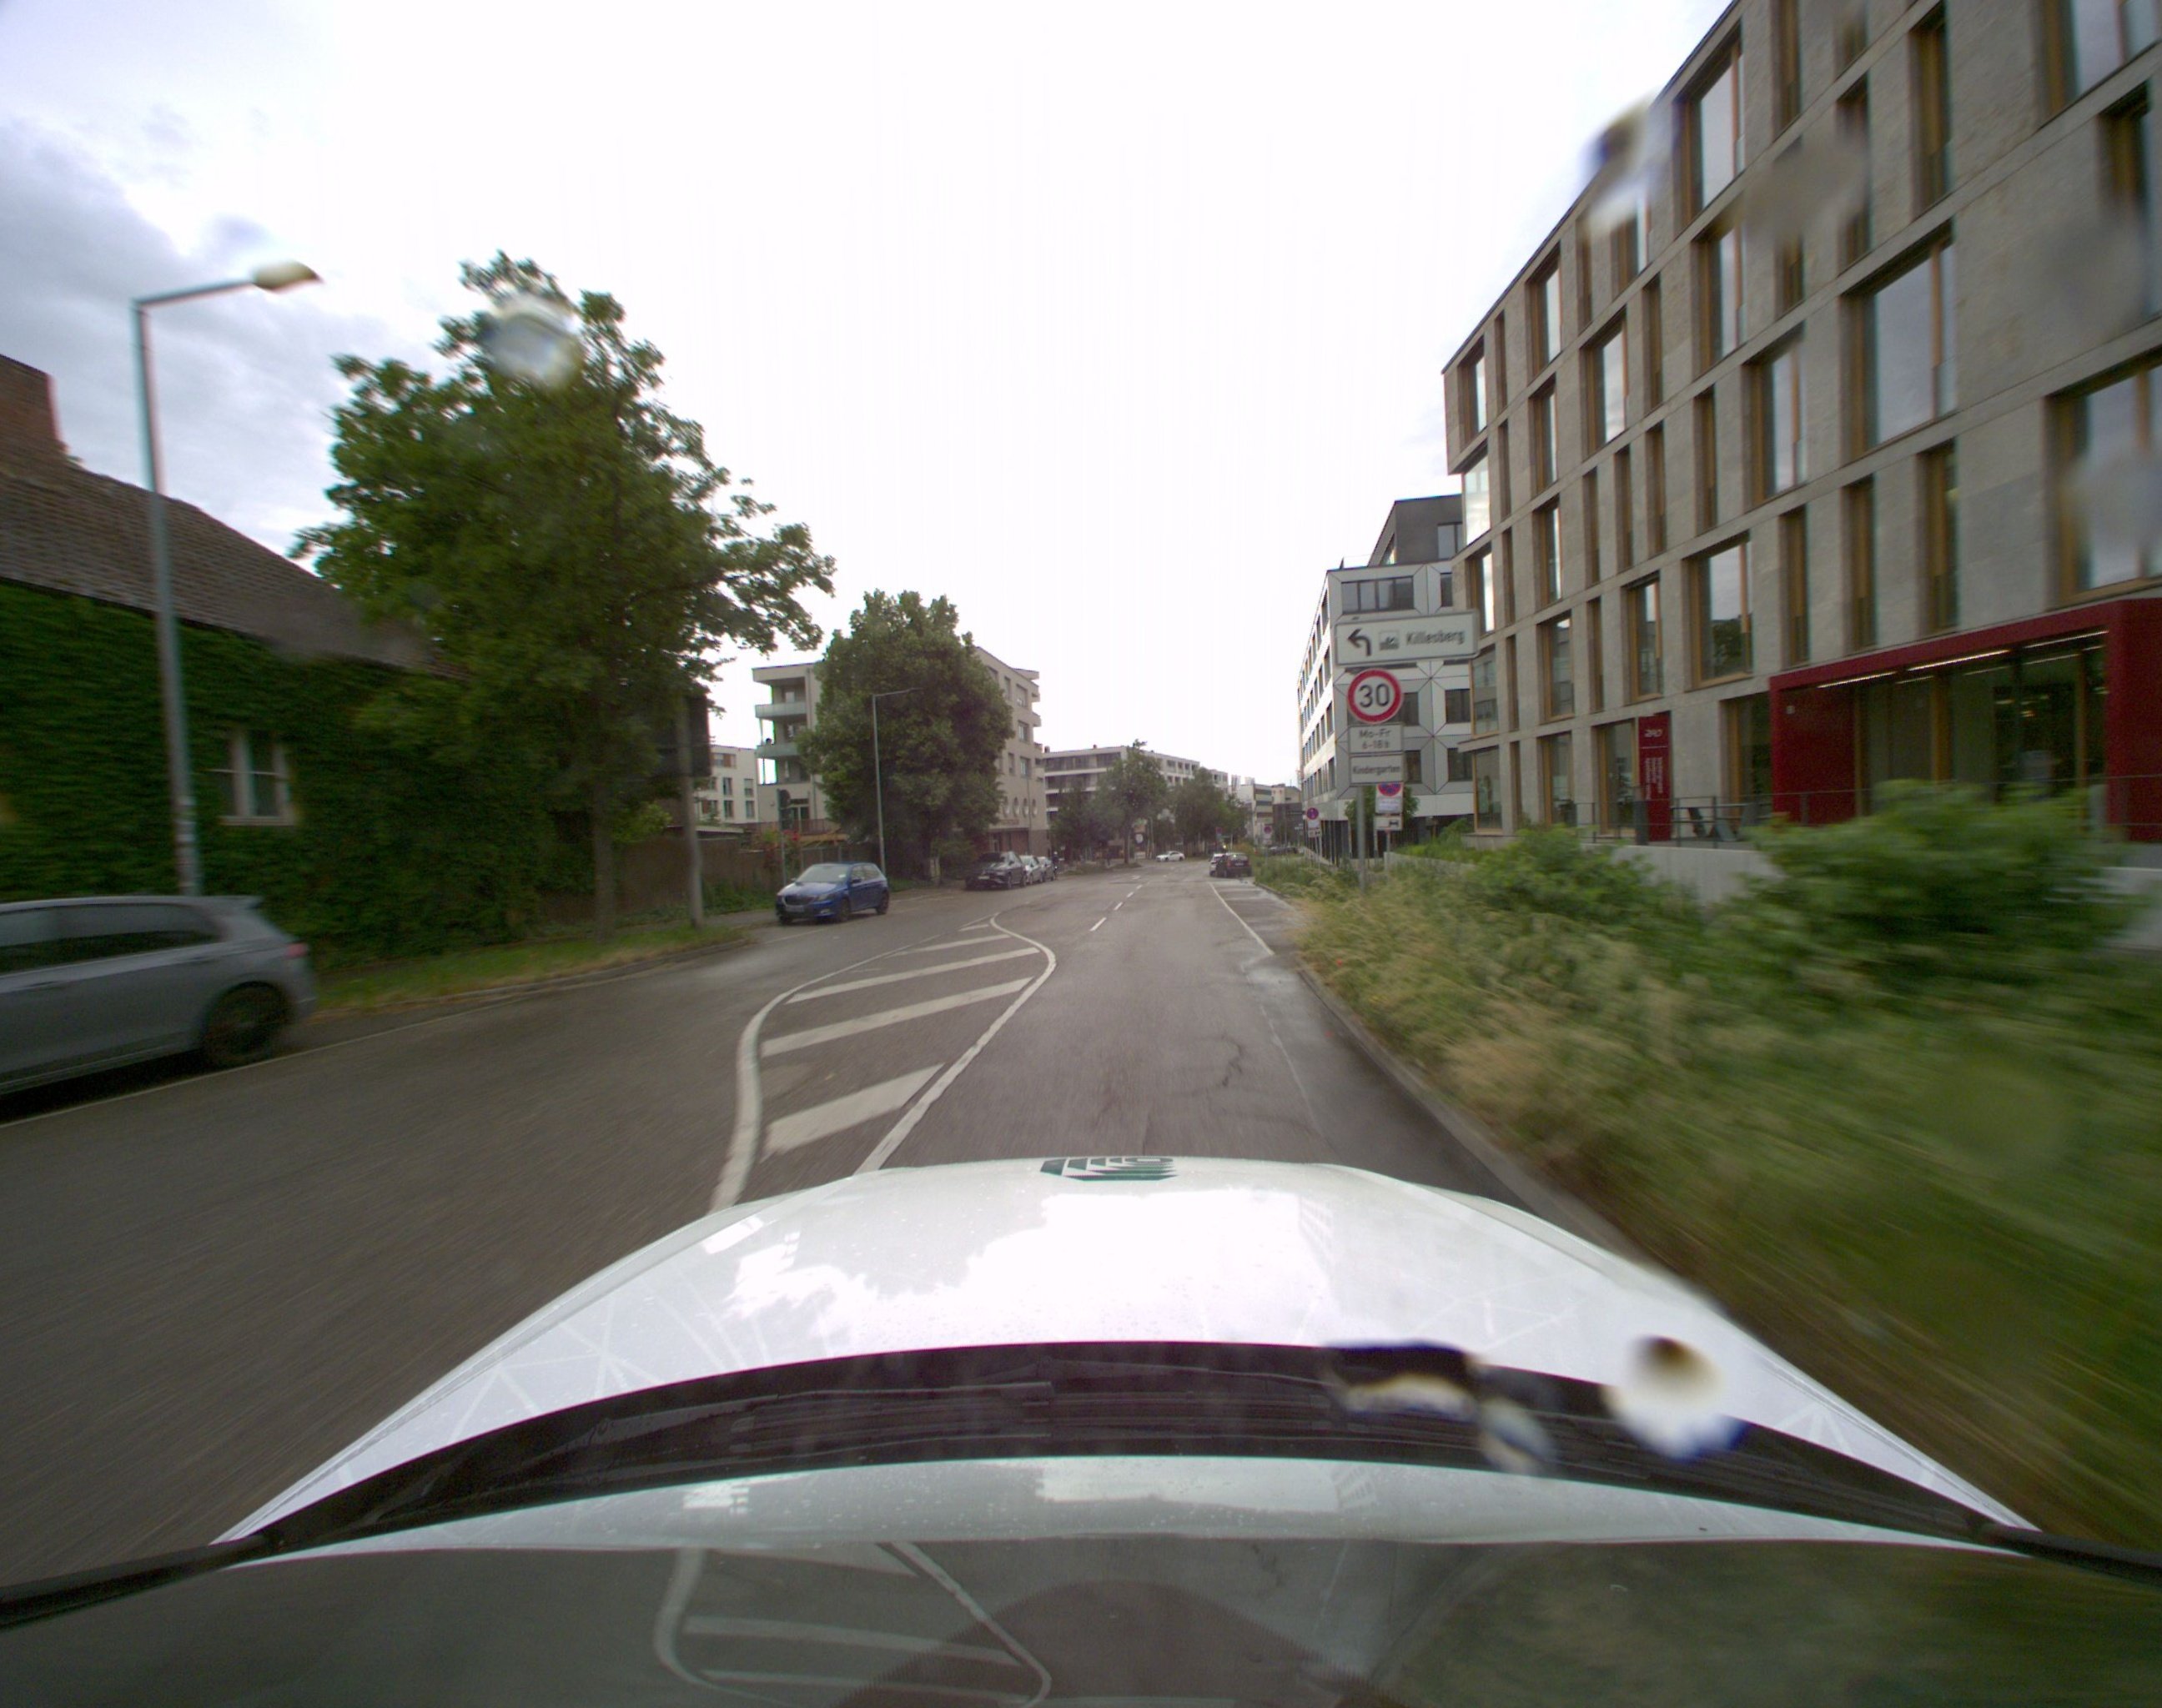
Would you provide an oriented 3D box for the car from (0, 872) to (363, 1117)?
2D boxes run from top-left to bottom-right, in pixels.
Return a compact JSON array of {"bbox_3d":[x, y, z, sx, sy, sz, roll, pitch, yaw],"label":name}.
[{"bbox_3d":[-7.916,0.960,5.488,1.984,1.512,4.428,-2,0,5],"label":"car"}]

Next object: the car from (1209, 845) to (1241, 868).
[{"bbox_3d":[9.833,0.150,55.724,2.027,1.464,4.514,-2,0,9],"label":"car"}]

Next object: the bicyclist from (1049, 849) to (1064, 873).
[{"bbox_3d":[-1.585,0.437,52.026,0.797,1.522,1.203,-2,0,3],"label":"bicyclist"}]

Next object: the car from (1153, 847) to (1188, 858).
[{"bbox_3d":[12.779,-0.215,116.482,4.715,1.292,1.982,-2,0,-28],"label":"car"}]

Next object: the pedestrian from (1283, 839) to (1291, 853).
[{"bbox_3d":[28.465,-1.115,112.500,0.816,1.796,1.213,-3,-1,17],"label":"pedestrian"}]

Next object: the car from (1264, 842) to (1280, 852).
[{"bbox_3d":[30.224,-1.051,128.703,1.792,1.484,4.520,-2,0,22],"label":"car"}]

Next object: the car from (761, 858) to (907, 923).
[{"bbox_3d":[-6.269,0.875,21.259,1.982,1.470,4.196,-2,0,9],"label":"car"}]

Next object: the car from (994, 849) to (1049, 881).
[{"bbox_3d":[-3.156,0.540,44.093,1.978,1.593,4.501,-2,0,9],"label":"car"}]

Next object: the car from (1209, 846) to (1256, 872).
[{"bbox_3d":[9.368,0.295,50.679,2.039,1.458,4.053,-2,0,-2],"label":"car"}]

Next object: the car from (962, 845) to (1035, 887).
[{"bbox_3d":[-3.769,0.521,38.431,1.981,1.786,5.425,-2,0,10],"label":"car"}]

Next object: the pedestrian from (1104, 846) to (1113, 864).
[{"bbox_3d":[3.254,0.104,96.087,1.051,2.013,1.100,-2,0,1],"label":"pedestrian"}]

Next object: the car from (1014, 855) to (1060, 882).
[{"bbox_3d":[-2.581,0.840,48.292,1.868,1.463,3.857,-2,0,9],"label":"car"}]

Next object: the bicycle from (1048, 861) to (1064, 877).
[{"bbox_3d":[-1.581,0.953,51.956,0.798,0.979,2.257,-2,0,4],"label":"bicycle"}]

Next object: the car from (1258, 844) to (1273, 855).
[{"bbox_3d":[28.090,-0.737,123.833,1.532,1.478,3.681,-2,1,24],"label":"car"}]
